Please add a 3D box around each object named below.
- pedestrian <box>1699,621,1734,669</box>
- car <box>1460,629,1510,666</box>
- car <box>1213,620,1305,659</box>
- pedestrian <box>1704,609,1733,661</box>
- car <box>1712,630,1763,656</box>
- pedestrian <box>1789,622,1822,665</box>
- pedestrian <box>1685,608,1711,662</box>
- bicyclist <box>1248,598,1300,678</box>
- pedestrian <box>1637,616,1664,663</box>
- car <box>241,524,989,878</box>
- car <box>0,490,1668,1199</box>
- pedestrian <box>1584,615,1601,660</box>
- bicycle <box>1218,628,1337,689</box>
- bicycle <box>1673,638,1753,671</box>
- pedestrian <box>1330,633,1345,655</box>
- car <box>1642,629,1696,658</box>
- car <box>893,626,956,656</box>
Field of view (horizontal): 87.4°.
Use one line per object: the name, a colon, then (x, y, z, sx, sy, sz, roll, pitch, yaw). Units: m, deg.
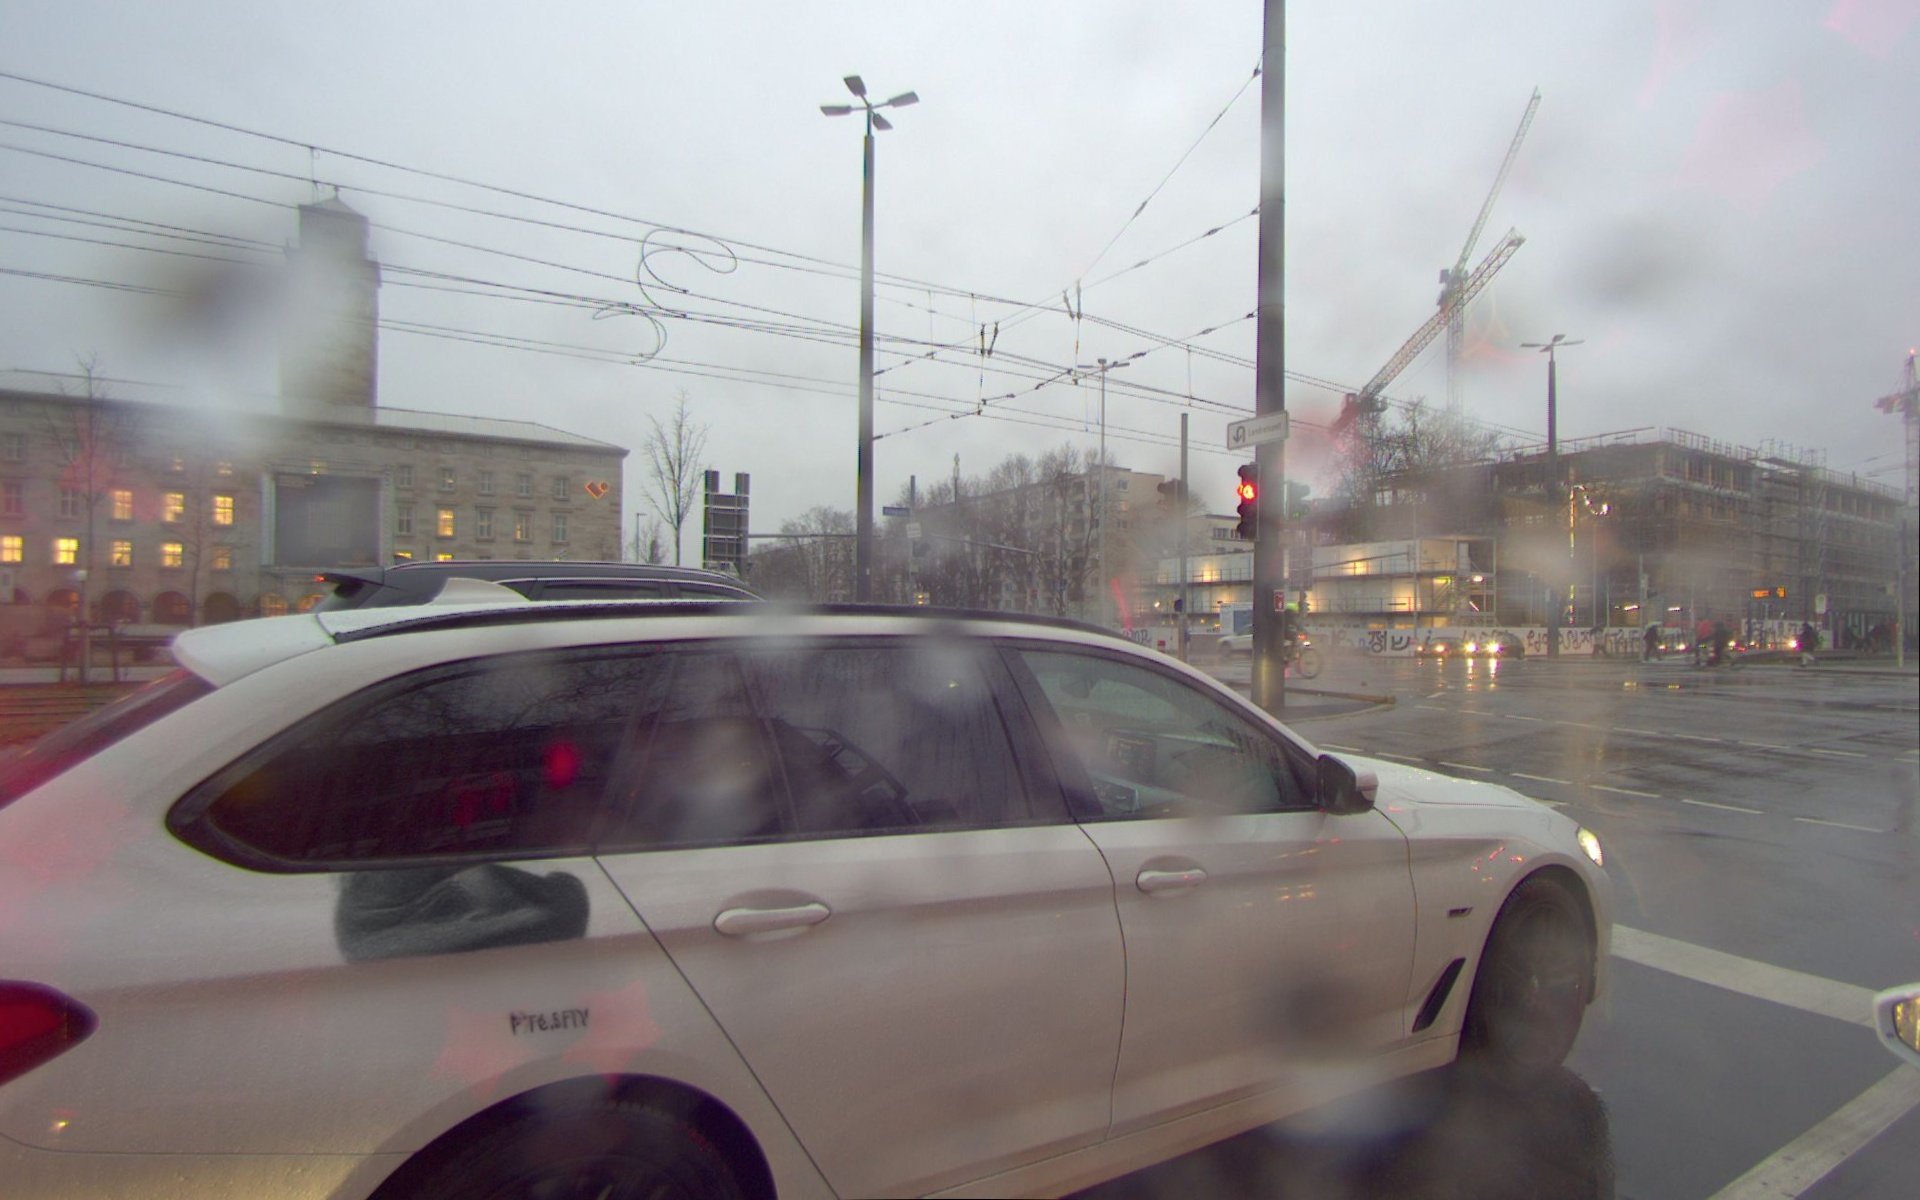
pedestrian: (25.688, 1.521, 34.111, 0.530, 1.591, 0.811, 1, -1, -31)
car: (30.789, 2.759, 58.819, 1.736, 2.040, 3.980, -1, -2, 41)
car: (14.258, 1.878, 48.111, 1.686, 1.785, 4.285, 1, -2, -29)
pedestrian: (29.948, 1.373, 39.664, 0.762, 2.040, 0.613, 0, -1, 22)
car: (63.340, 3.468, 81.794, 3.953, 2.040, 1.984, 2, -2, -30)
pedestrian: (32.560, 1.670, 38.678, 0.669, 1.640, 0.707, 1, -1, -13)
pedestrian: (29.040, 1.375, 39.525, 0.674, 2.115, 0.613, 0, -1, 20)
bicyclist: (7.560, 0.913, 24.194, 0.715, 1.863, 0.986, 2, -2, -39)
pedestrian: (30.195, 1.731, 43.926, 0.741, 2.040, 0.785, 2, -2, -40)
car: (-2.139, 0.574, 7.002, 4.564, 1.766, 1.692, 2, -2, -34)
car: (-0.108, 0.698, 3.001, 4.868, 1.540, 1.900, 2, -2, -32)
pedestrian: (28.848, 1.704, 45.805, 0.635, 2.040, 0.503, 2, -2, -40)
bicycle: (7.586, 1.387, 24.182, 0.714, 1.380, 2.809, 2, -3, -38)
bicycle: (25.643, 1.850, 34.255, 0.535, 1.004, 2.118, 6, -3, -30)
pedestrian: (27.220, 3.172, 72.441, 0.781, 1.549, 0.646, 1, -2, -4)
car: (51.904, 3.171, 73.513, 3.959, 2.040, 1.981, 2, -2, -34)
car: (-2.122, 2.408, 59.333, 1.978, 1.706, 3.965, 1, -2, -33)
